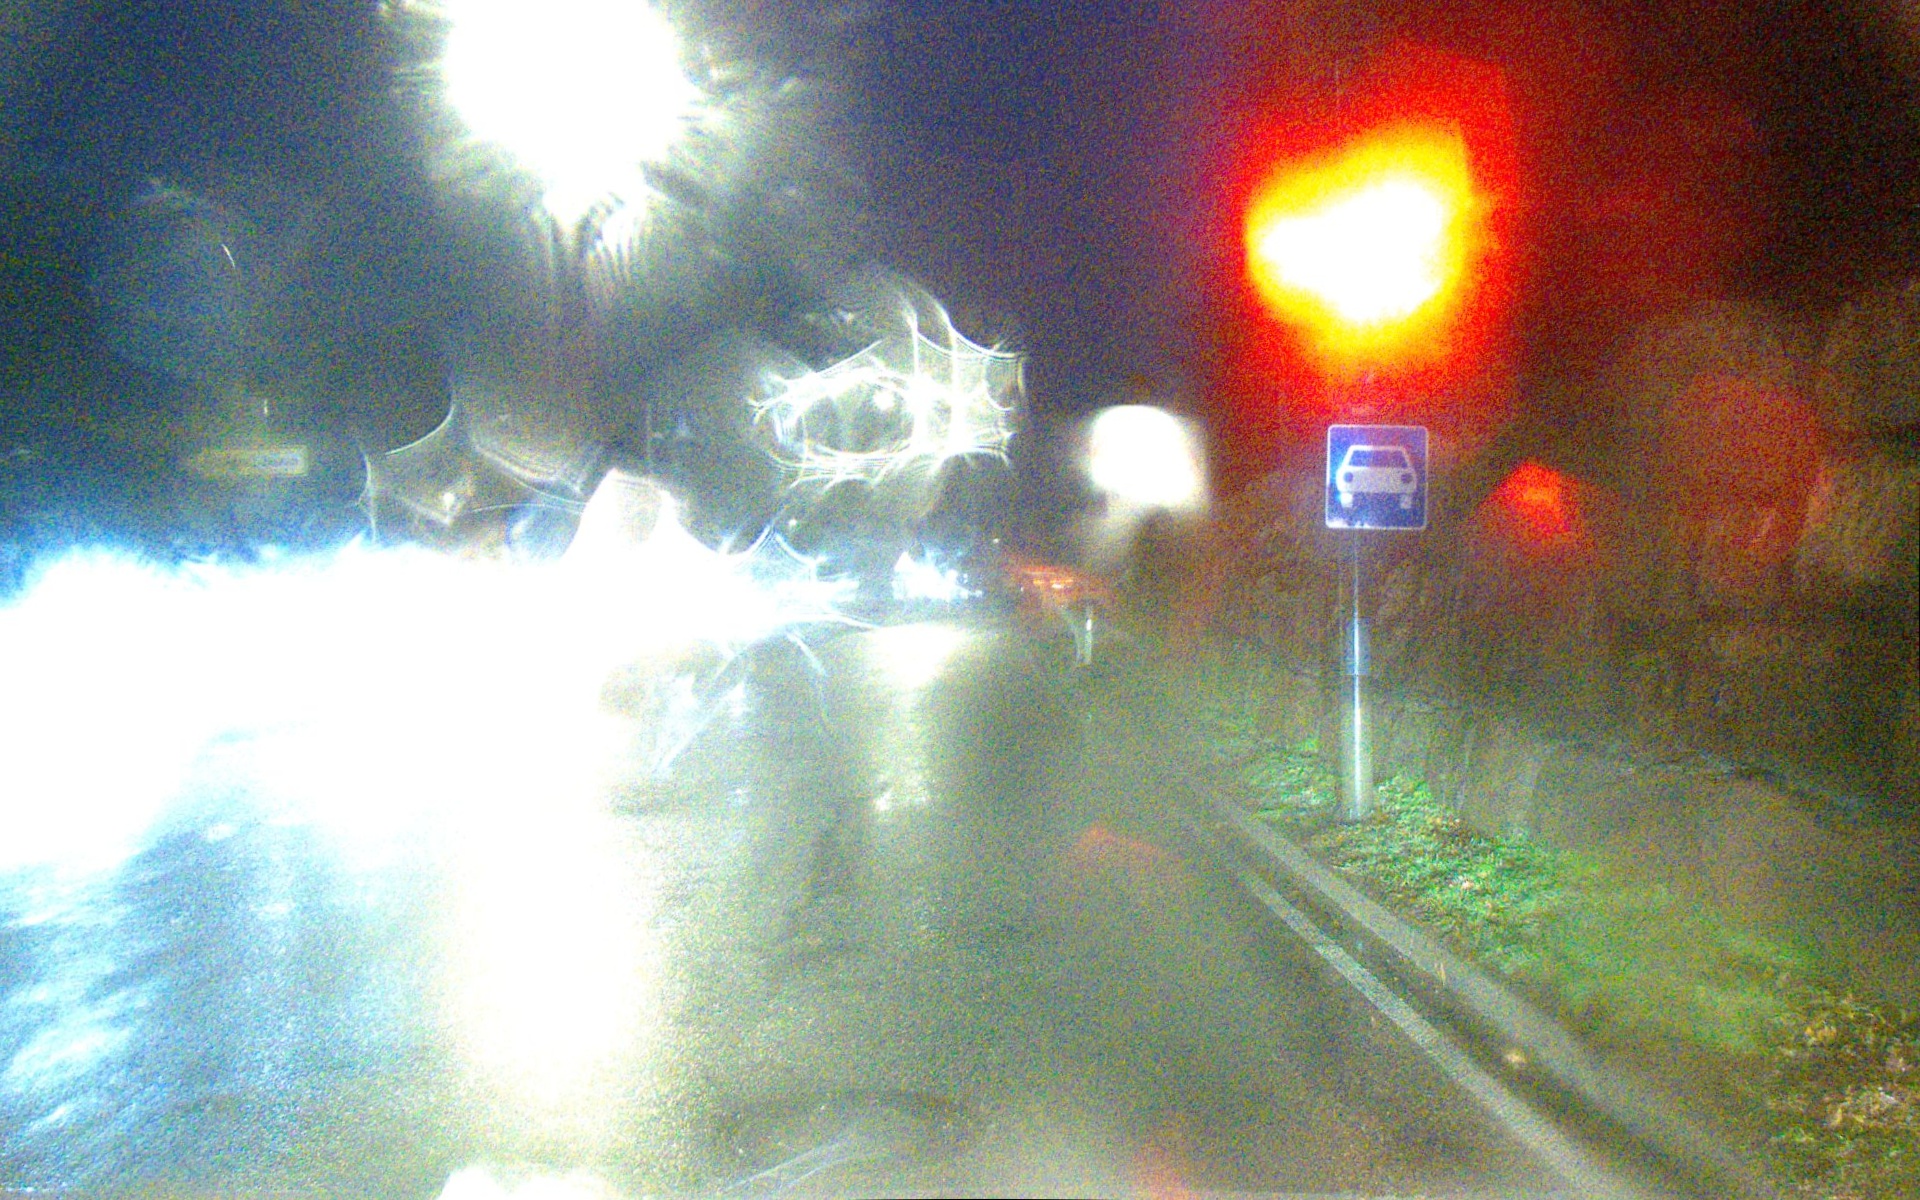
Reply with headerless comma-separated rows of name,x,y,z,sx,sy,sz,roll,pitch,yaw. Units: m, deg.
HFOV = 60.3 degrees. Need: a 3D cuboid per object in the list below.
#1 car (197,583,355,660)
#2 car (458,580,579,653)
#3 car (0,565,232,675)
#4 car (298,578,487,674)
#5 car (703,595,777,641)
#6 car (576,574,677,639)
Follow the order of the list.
car,-13.745,0.437,33.458,1.634,1.479,3.727,0,-1,0
car,-9.819,0.378,37.066,1.552,1.552,3.653,0,-1,3
car,-13.642,0.280,26.581,1.755,1.599,4.913,0,0,-1
car,-10.160,0.423,29.987,1.663,1.599,4.713,0,0,2
car,-7.754,0.652,58.710,1.672,1.561,4.602,0,-1,4
car,-9.284,0.199,46.401,1.681,1.733,4.145,0,-1,5
